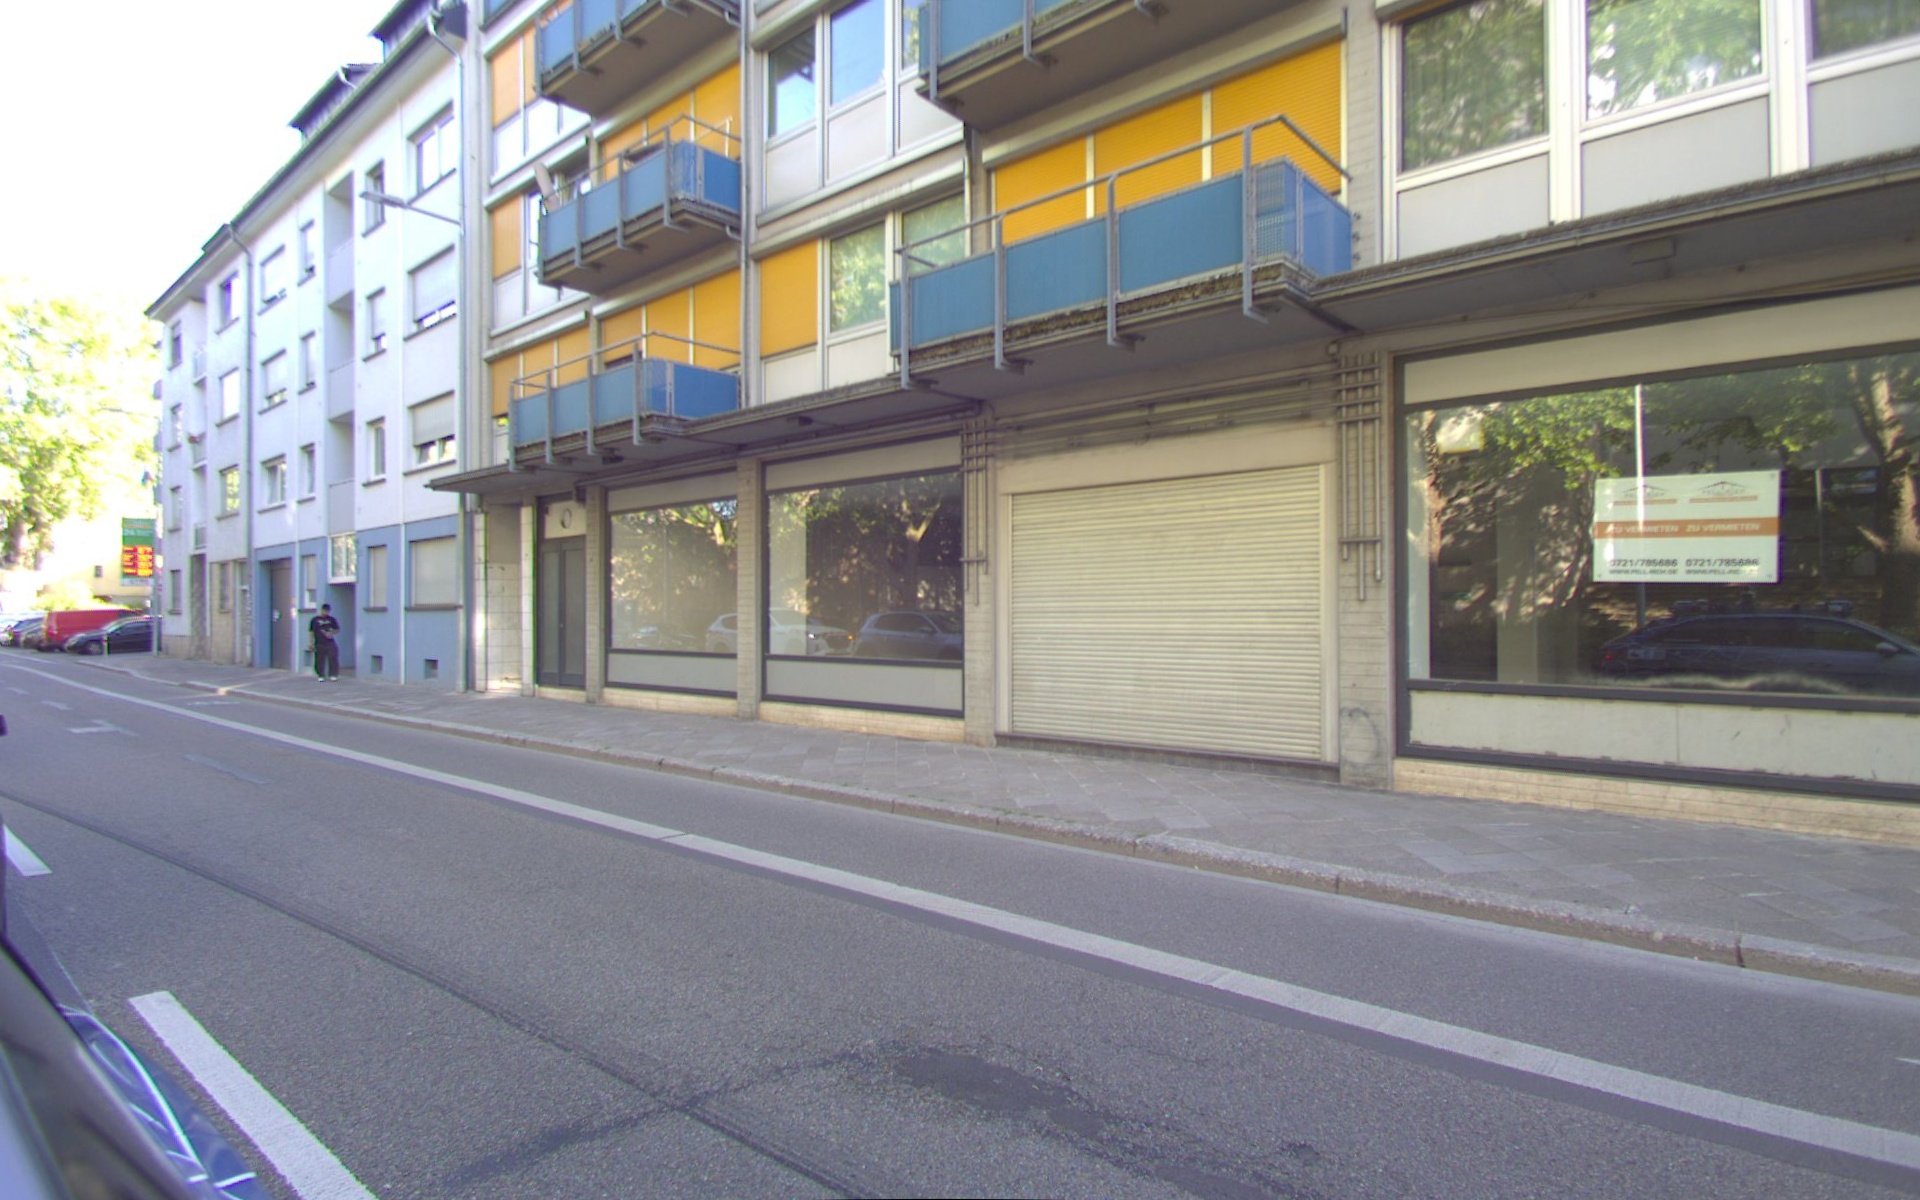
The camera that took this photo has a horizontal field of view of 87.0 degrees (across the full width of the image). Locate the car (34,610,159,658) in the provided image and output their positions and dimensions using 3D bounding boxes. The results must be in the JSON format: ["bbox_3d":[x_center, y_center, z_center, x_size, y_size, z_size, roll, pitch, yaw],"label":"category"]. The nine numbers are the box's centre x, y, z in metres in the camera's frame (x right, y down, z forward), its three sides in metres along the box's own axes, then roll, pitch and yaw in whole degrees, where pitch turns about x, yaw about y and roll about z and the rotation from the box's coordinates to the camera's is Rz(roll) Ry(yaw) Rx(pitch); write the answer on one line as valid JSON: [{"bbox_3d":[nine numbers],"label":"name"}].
[{"bbox_3d":[-40.573,1.555,47.627,1.817,1.933,4.202,-2,1,40],"label":"car"}]

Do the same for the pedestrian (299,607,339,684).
[{"bbox_3d":[-14.386,1.006,22.699,0.655,1.708,0.604,-2,-1,41],"label":"pedestrian"}]

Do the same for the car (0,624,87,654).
[{"bbox_3d":[-54.502,2.275,59.798,1.652,1.480,4.201,-1,1,41],"label":"car"}]

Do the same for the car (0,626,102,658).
[{"bbox_3d":[-50.469,2.289,56.113,1.652,1.480,4.201,-1,1,41],"label":"car"}]

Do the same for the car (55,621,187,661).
[{"bbox_3d":[-36.499,1.740,44.102,1.652,1.411,4.201,-1,1,41],"label":"car"}]

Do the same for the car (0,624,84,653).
[{"bbox_3d":[-55.883,2.296,61.206,1.652,1.480,4.201,-1,1,41],"label":"car"}]

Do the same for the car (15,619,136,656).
[{"bbox_3d":[-42.761,1.787,49.023,1.652,1.480,4.201,-1,1,41],"label":"car"}]

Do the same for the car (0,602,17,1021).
[{"bbox_3d":[-5.648,0.795,4.413,4.300,1.510,1.826,-1,-1,41],"label":"car"}]

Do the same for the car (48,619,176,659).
[{"bbox_3d":[-38.192,1.727,45.665,1.652,1.480,4.201,-1,1,41],"label":"car"}]
